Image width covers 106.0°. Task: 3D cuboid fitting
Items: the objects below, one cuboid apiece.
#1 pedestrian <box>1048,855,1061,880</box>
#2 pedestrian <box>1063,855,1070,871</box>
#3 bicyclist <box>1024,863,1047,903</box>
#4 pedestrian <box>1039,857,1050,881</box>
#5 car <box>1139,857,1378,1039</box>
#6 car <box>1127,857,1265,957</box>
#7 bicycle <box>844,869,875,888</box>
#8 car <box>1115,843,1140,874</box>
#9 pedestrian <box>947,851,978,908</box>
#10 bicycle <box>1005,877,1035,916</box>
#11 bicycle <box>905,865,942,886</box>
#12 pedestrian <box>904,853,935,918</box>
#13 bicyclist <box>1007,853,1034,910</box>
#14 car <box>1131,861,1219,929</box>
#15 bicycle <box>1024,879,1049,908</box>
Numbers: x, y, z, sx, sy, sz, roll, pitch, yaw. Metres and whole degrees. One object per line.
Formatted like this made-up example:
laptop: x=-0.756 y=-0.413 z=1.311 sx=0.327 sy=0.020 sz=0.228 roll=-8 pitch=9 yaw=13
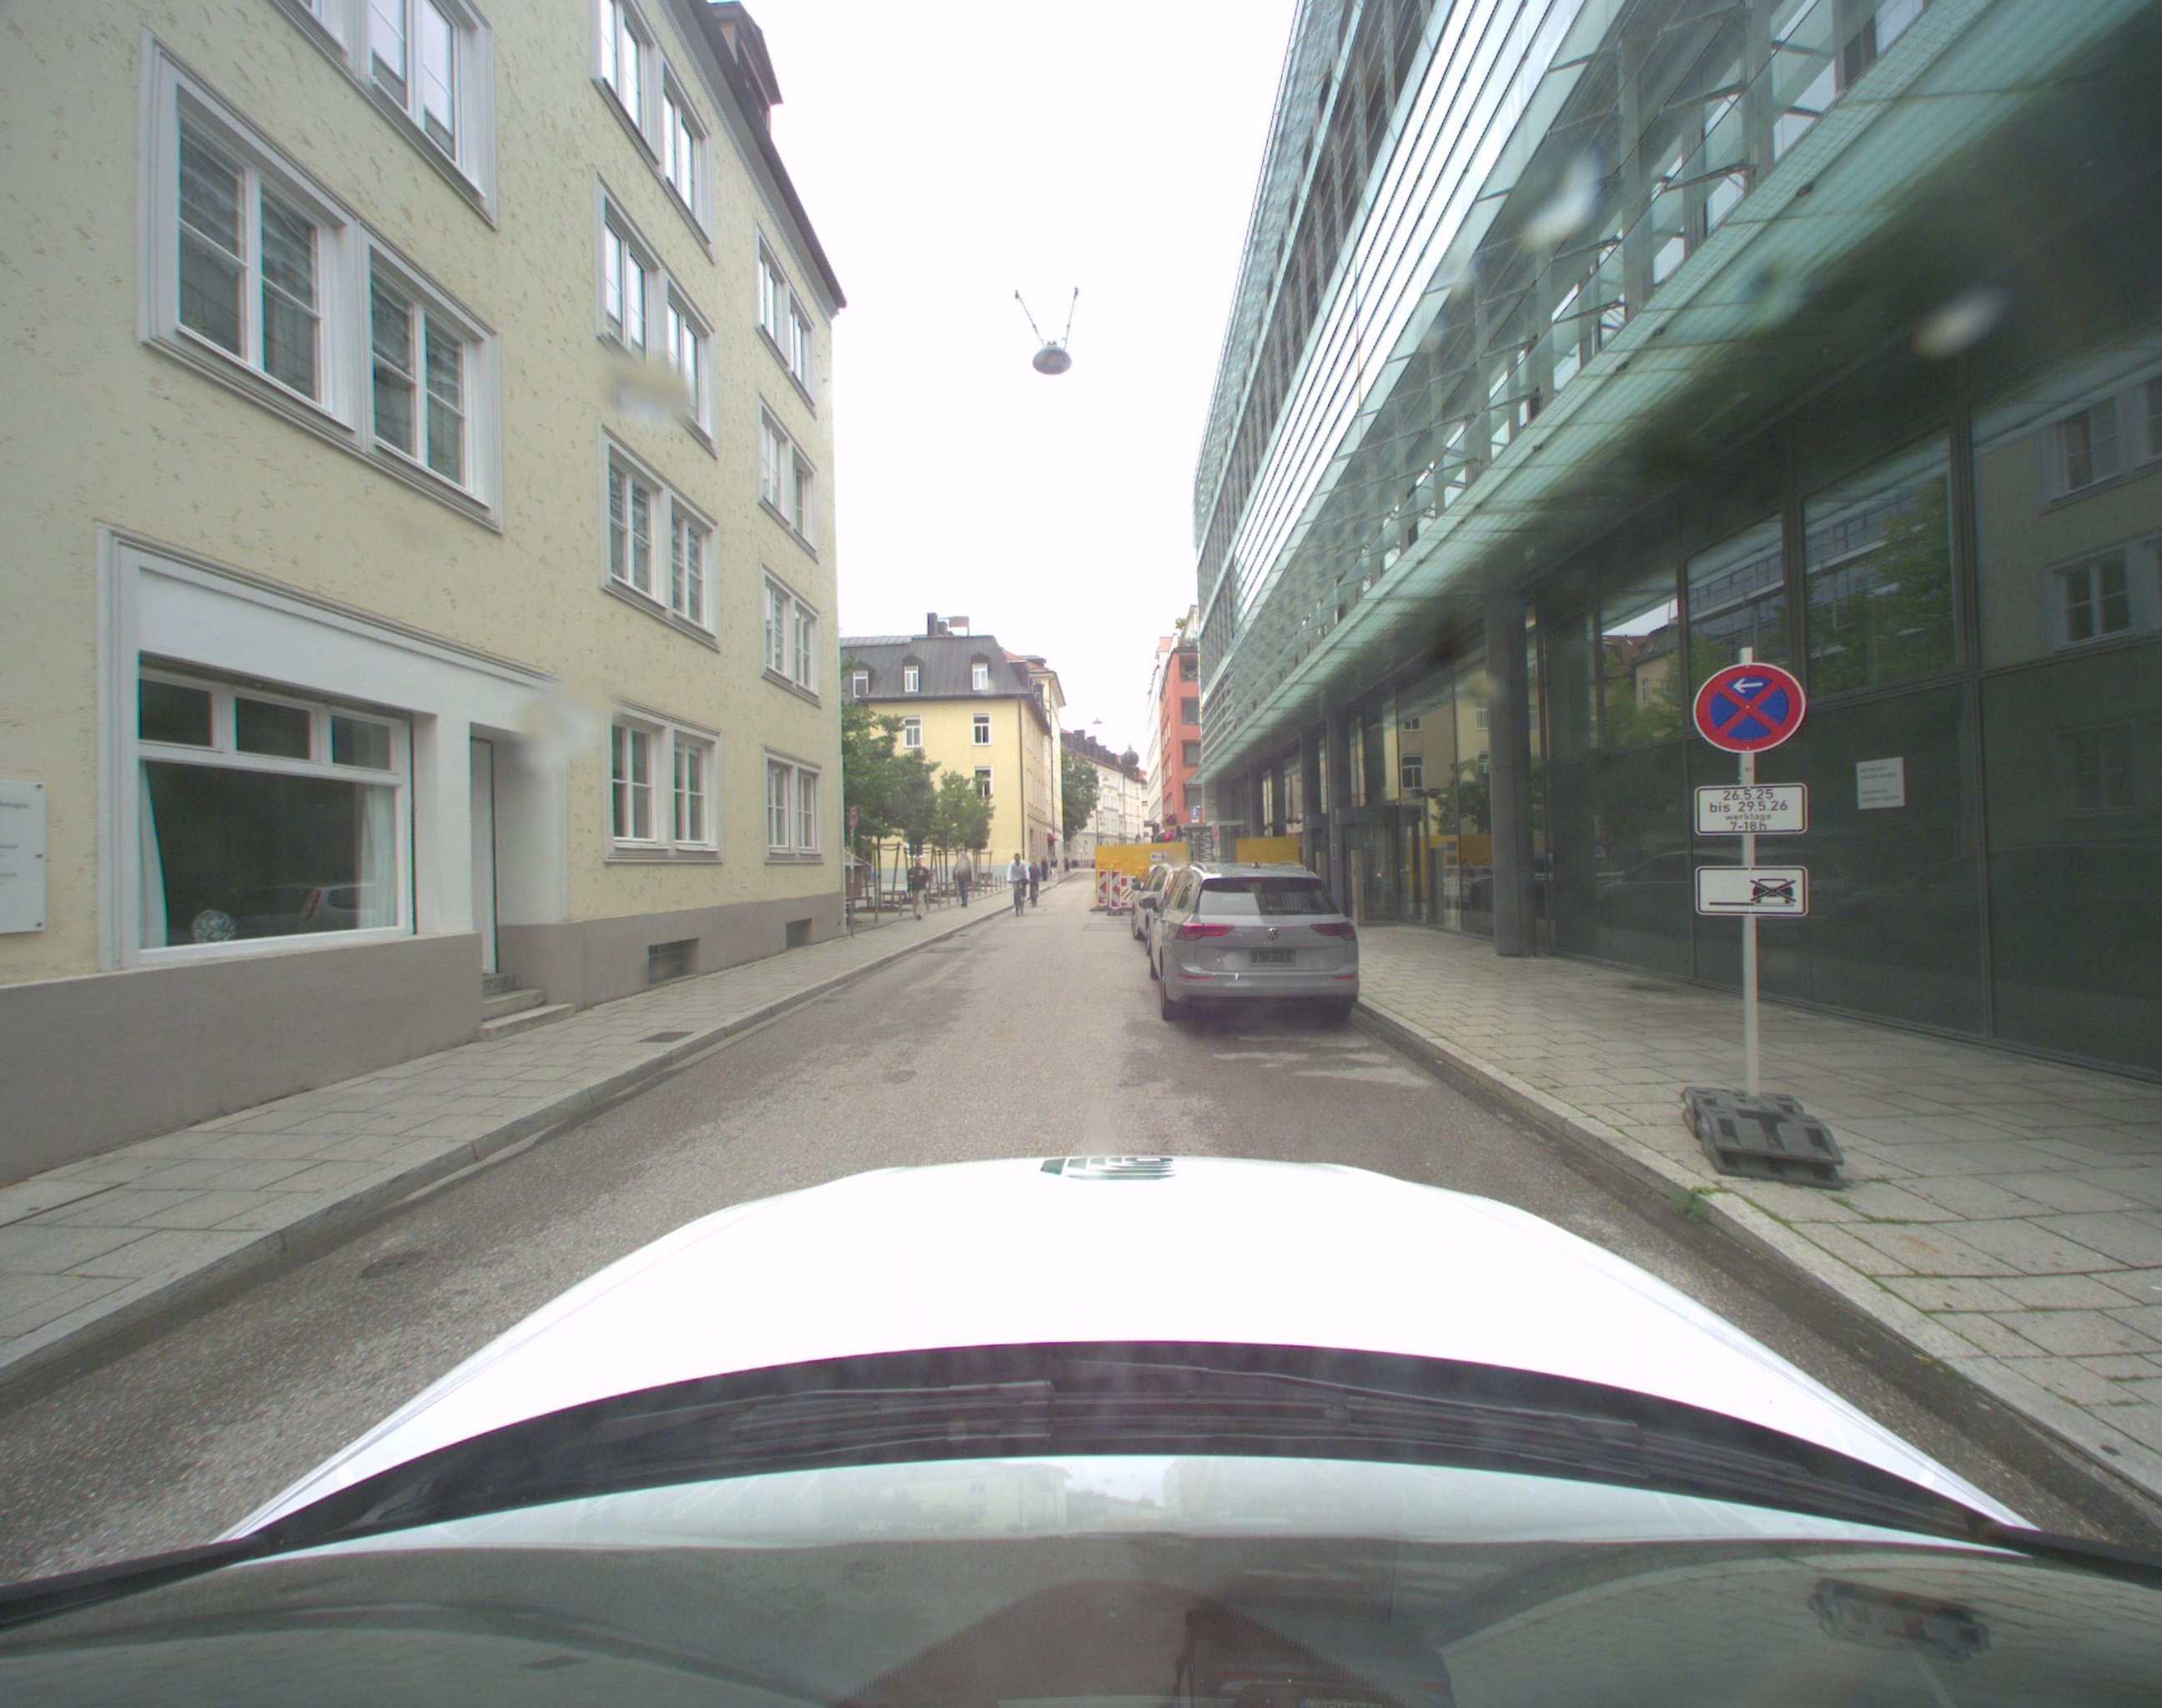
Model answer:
pedestrian: x=-1.785 y=0.906 z=55.470 sx=0.836 sy=1.700 sz=0.803 roll=-1 pitch=-1 yaw=1
pedestrian: x=-1.515 y=0.946 z=84.049 sx=0.632 sy=1.675 sz=0.518 roll=-1 pitch=-1 yaw=1
bicyclist: x=-1.601 y=1.010 z=29.002 sx=0.705 sy=1.371 sz=0.813 roll=-2 pitch=-1 yaw=1
pedestrian: x=-2.500 y=1.005 z=55.865 sx=0.668 sy=1.648 sz=0.762 roll=-1 pitch=-1 yaw=1
car: x=1.598 y=0.784 z=8.782 sx=1.702 sy=1.432 sz=4.330 roll=-2 pitch=-1 yaw=1
car: x=1.808 y=0.803 z=14.075 sx=1.703 sy=1.467 sz=4.234 roll=0 pitch=-1 yaw=-1
bicycle: x=-13.131 y=1.448 z=48.343 sx=1.648 sy=1.069 sz=0.599 roll=-1 pitch=-1 yaw=5
car: x=4.068 y=0.393 z=71.352 sx=1.986 sy=2.537 sz=4.976 roll=-1 pitch=0 yaw=1
pedestrian: x=-3.993 y=0.850 z=27.523 sx=0.864 sy=1.881 sz=1.135 roll=-1 pitch=-1 yaw=1
bicycle: x=-1.806 y=1.256 z=24.494 sx=0.659 sy=1.039 sz=2.005 roll=-2 pitch=-1 yaw=2
bicycle: x=-9.392 y=1.289 z=48.533 sx=2.031 sy=1.198 sz=0.571 roll=-1 pitch=-1 yaw=8
pedestrian: x=-4.242 y=0.823 z=21.414 sx=0.645 sy=1.676 sz=0.724 roll=-1 pitch=-1 yaw=1
bicyclist: x=-1.817 y=0.817 z=24.437 sx=0.657 sy=1.643 sz=0.895 roll=-2 pitch=-1 yaw=1
car: x=2.092 y=0.889 z=19.230 sx=1.701 sy=1.414 sz=4.511 roll=0 pitch=-1 yaw=2
bicycle: x=-1.588 y=1.391 z=29.033 sx=0.705 sy=0.905 sz=1.810 roll=-2 pitch=-1 yaw=2
